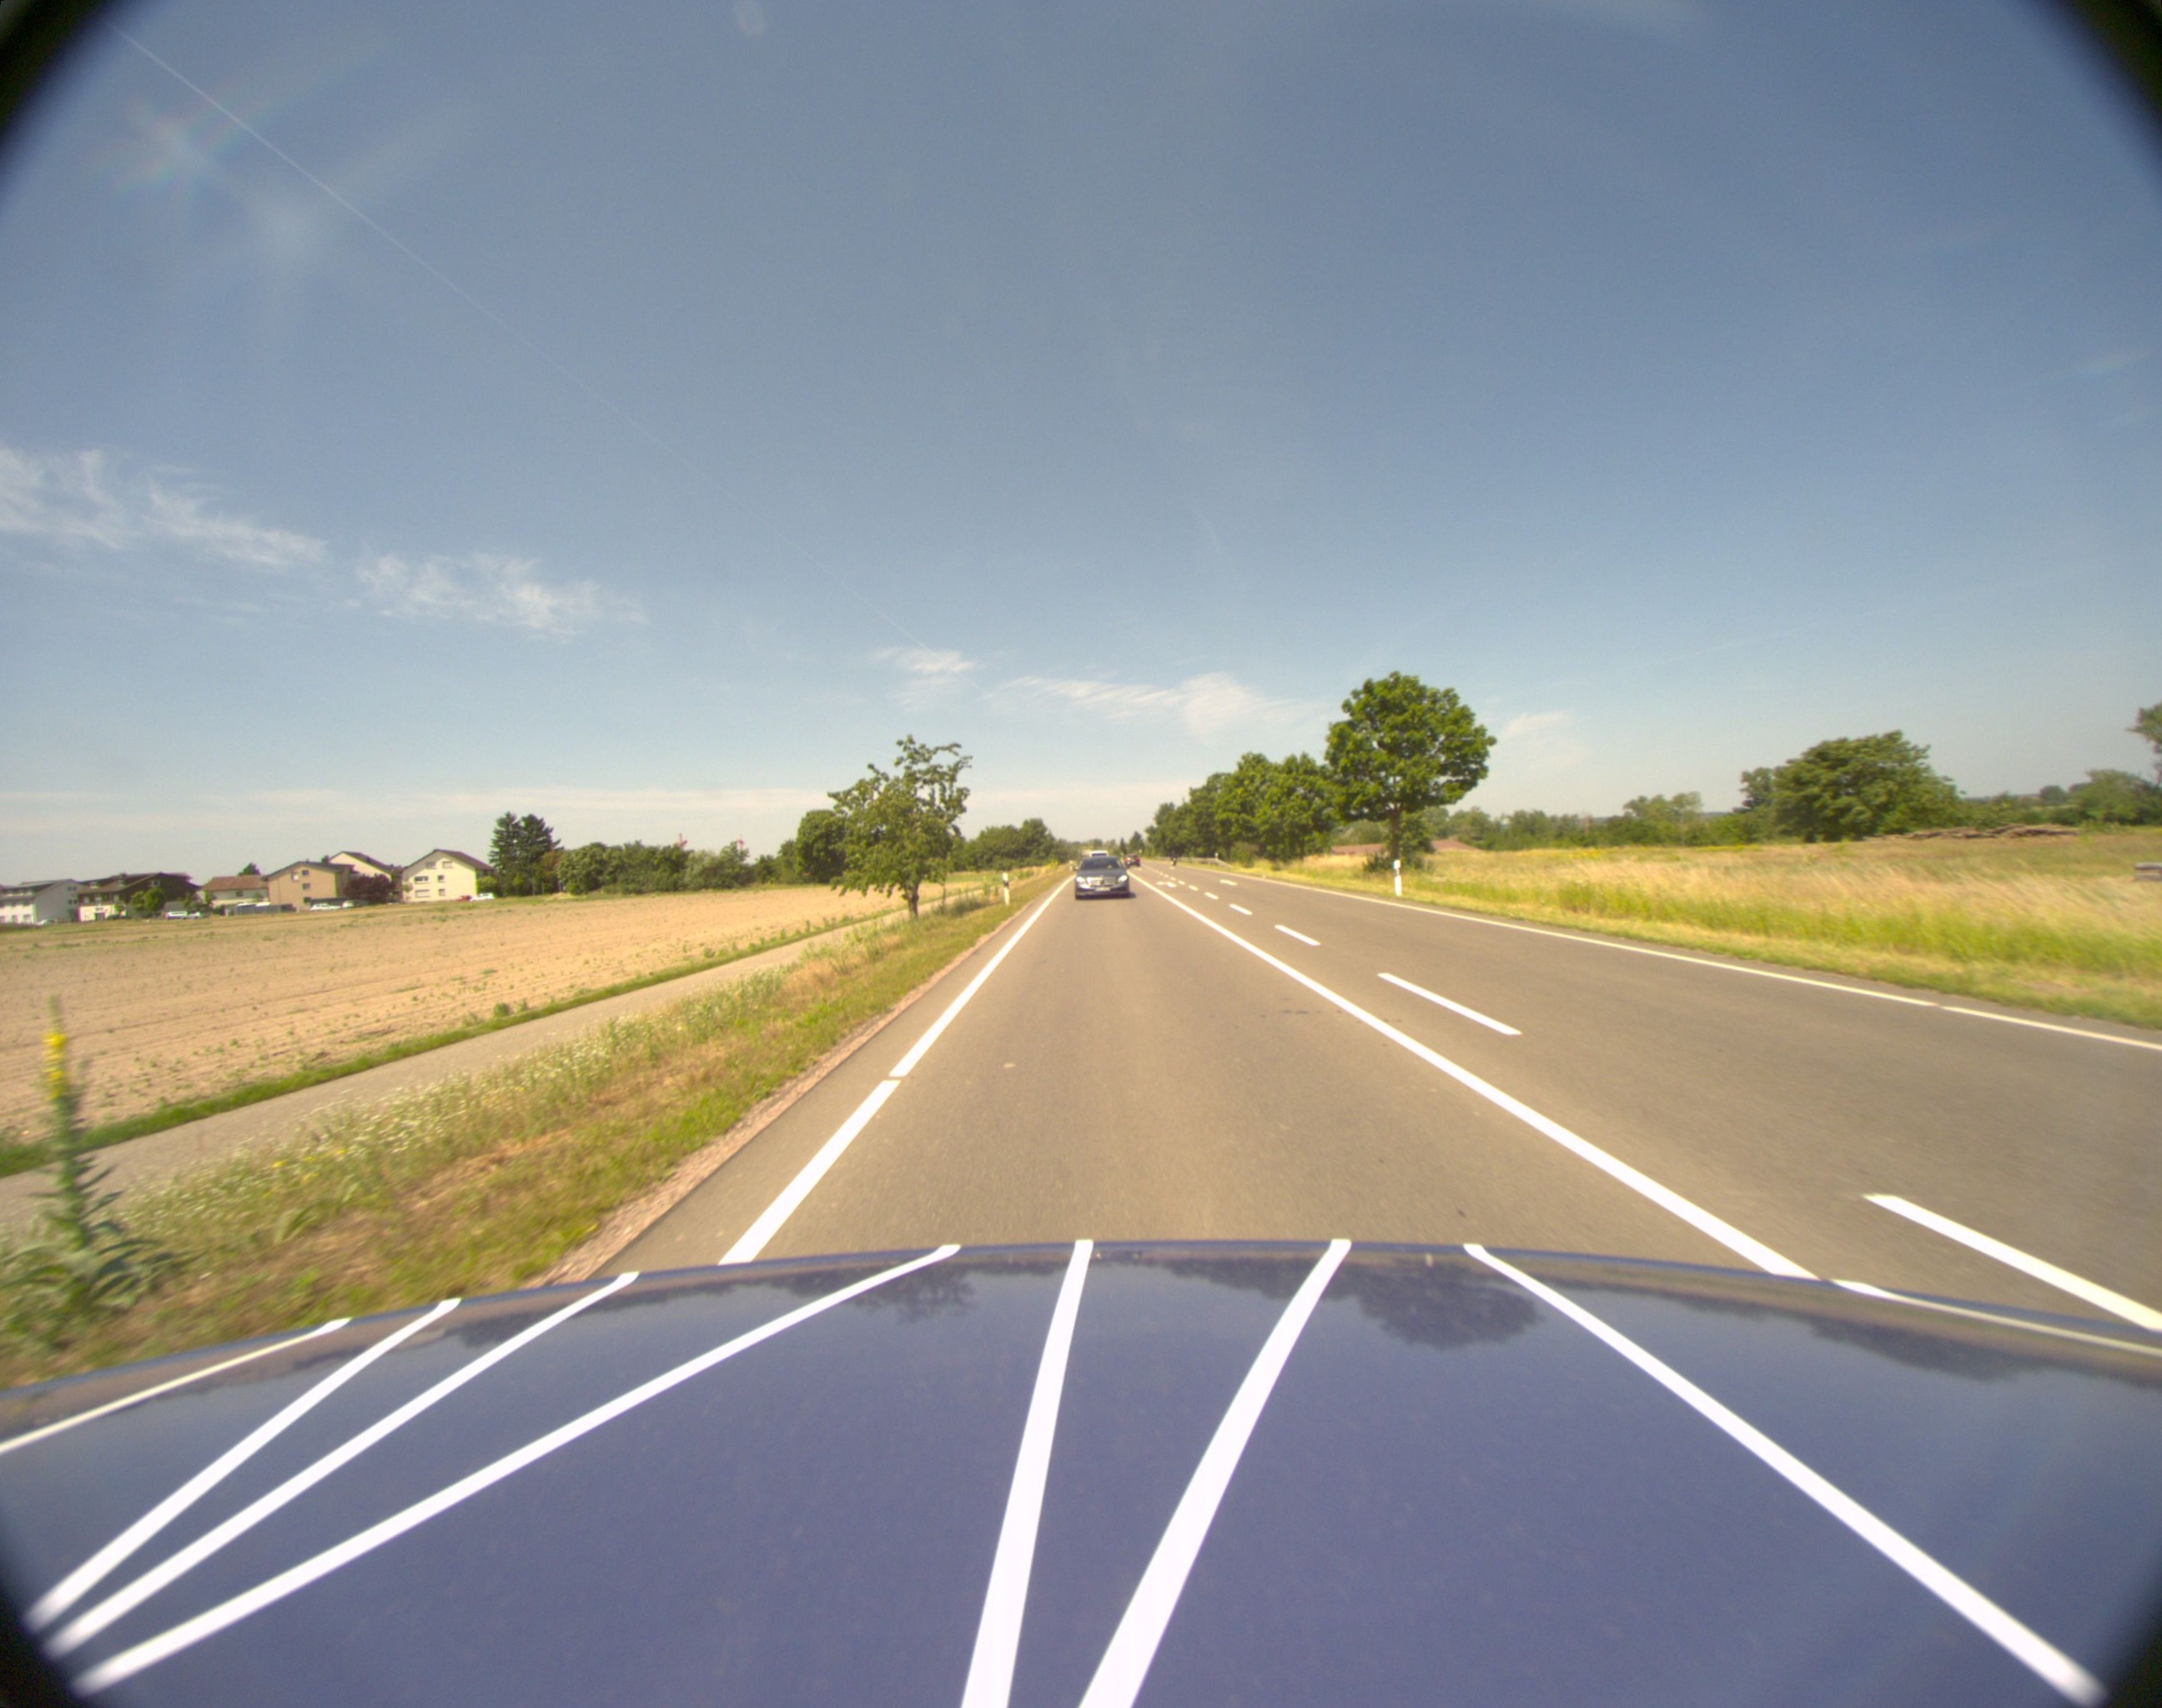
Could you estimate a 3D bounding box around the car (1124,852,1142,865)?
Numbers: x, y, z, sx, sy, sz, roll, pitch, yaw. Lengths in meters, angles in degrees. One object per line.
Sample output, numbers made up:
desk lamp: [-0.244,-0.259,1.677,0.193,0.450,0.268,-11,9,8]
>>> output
car: [6.154,0.561,90.615,1.744,1.464,4.618,-2,0,0]

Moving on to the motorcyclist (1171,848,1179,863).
motorcyclist: [11.038,0.146,89.233,0.855,1.711,1.088,-2,1,0]

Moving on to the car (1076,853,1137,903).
car: [1.011,0.807,27.240,1.831,1.540,4.500,-3,0,5]

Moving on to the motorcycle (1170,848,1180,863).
motorcycle: [11.043,0.130,89.143,0.890,1.733,2.445,-2,0,2]

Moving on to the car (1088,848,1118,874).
car: [2.019,0.588,67.764,2.178,2.002,5.027,-6,0,5]
